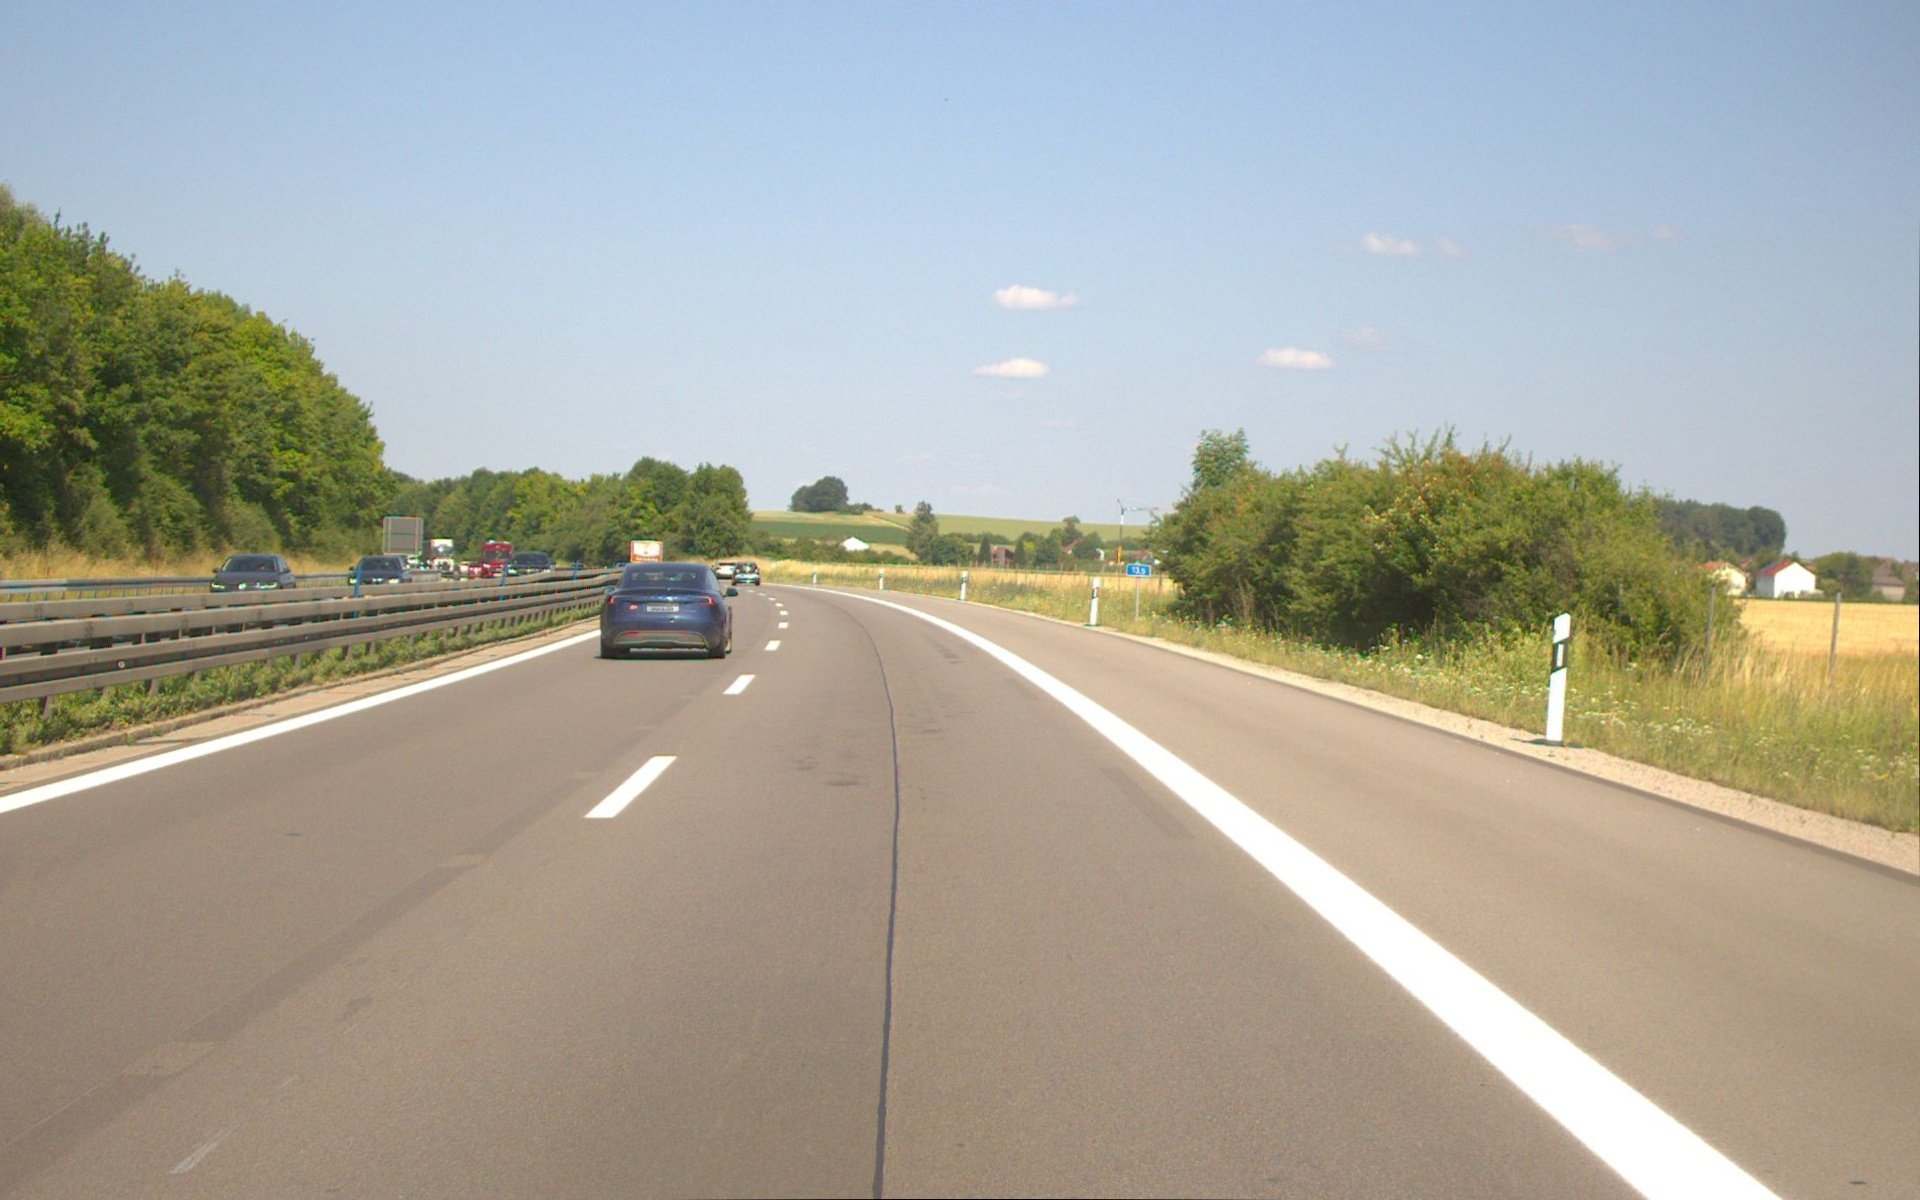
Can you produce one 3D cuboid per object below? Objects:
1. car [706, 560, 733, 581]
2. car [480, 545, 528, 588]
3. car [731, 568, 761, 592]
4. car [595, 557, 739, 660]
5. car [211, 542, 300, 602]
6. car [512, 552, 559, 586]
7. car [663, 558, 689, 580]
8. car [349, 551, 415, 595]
[{"bbox_3d":[-16.942,-2.083,242.207,1.675,1.448,3.593,1,1,-7],"label":"car"},{"bbox_3d":[-28.726,-2.137,216.715,2.543,2.586,6.594,1,1,-4],"label":"car"},{"bbox_3d":[-12.948,-1.216,208.139,1.676,1.448,3.592,1,1,-5],"label":"car"},{"bbox_3d":[-4.429,0.090,52.728,1.847,1.428,5.866,1,1,-2],"label":"car"},{"bbox_3d":[-17.813,-0.722,87.060,1.578,1.457,4.153,1,1,-3],"label":"car"},{"bbox_3d":[-18.081,-1.320,146.564,1.662,1.417,4.000,1,1,-2],"label":"car"},{"bbox_3d":[-19.174,-2.108,232.313,1.676,1.448,3.592,1,1,-5],"label":"car"},{"bbox_3d":[-19.143,-0.899,113.901,1.662,1.417,4.000,1,1,-2],"label":"car"}]
